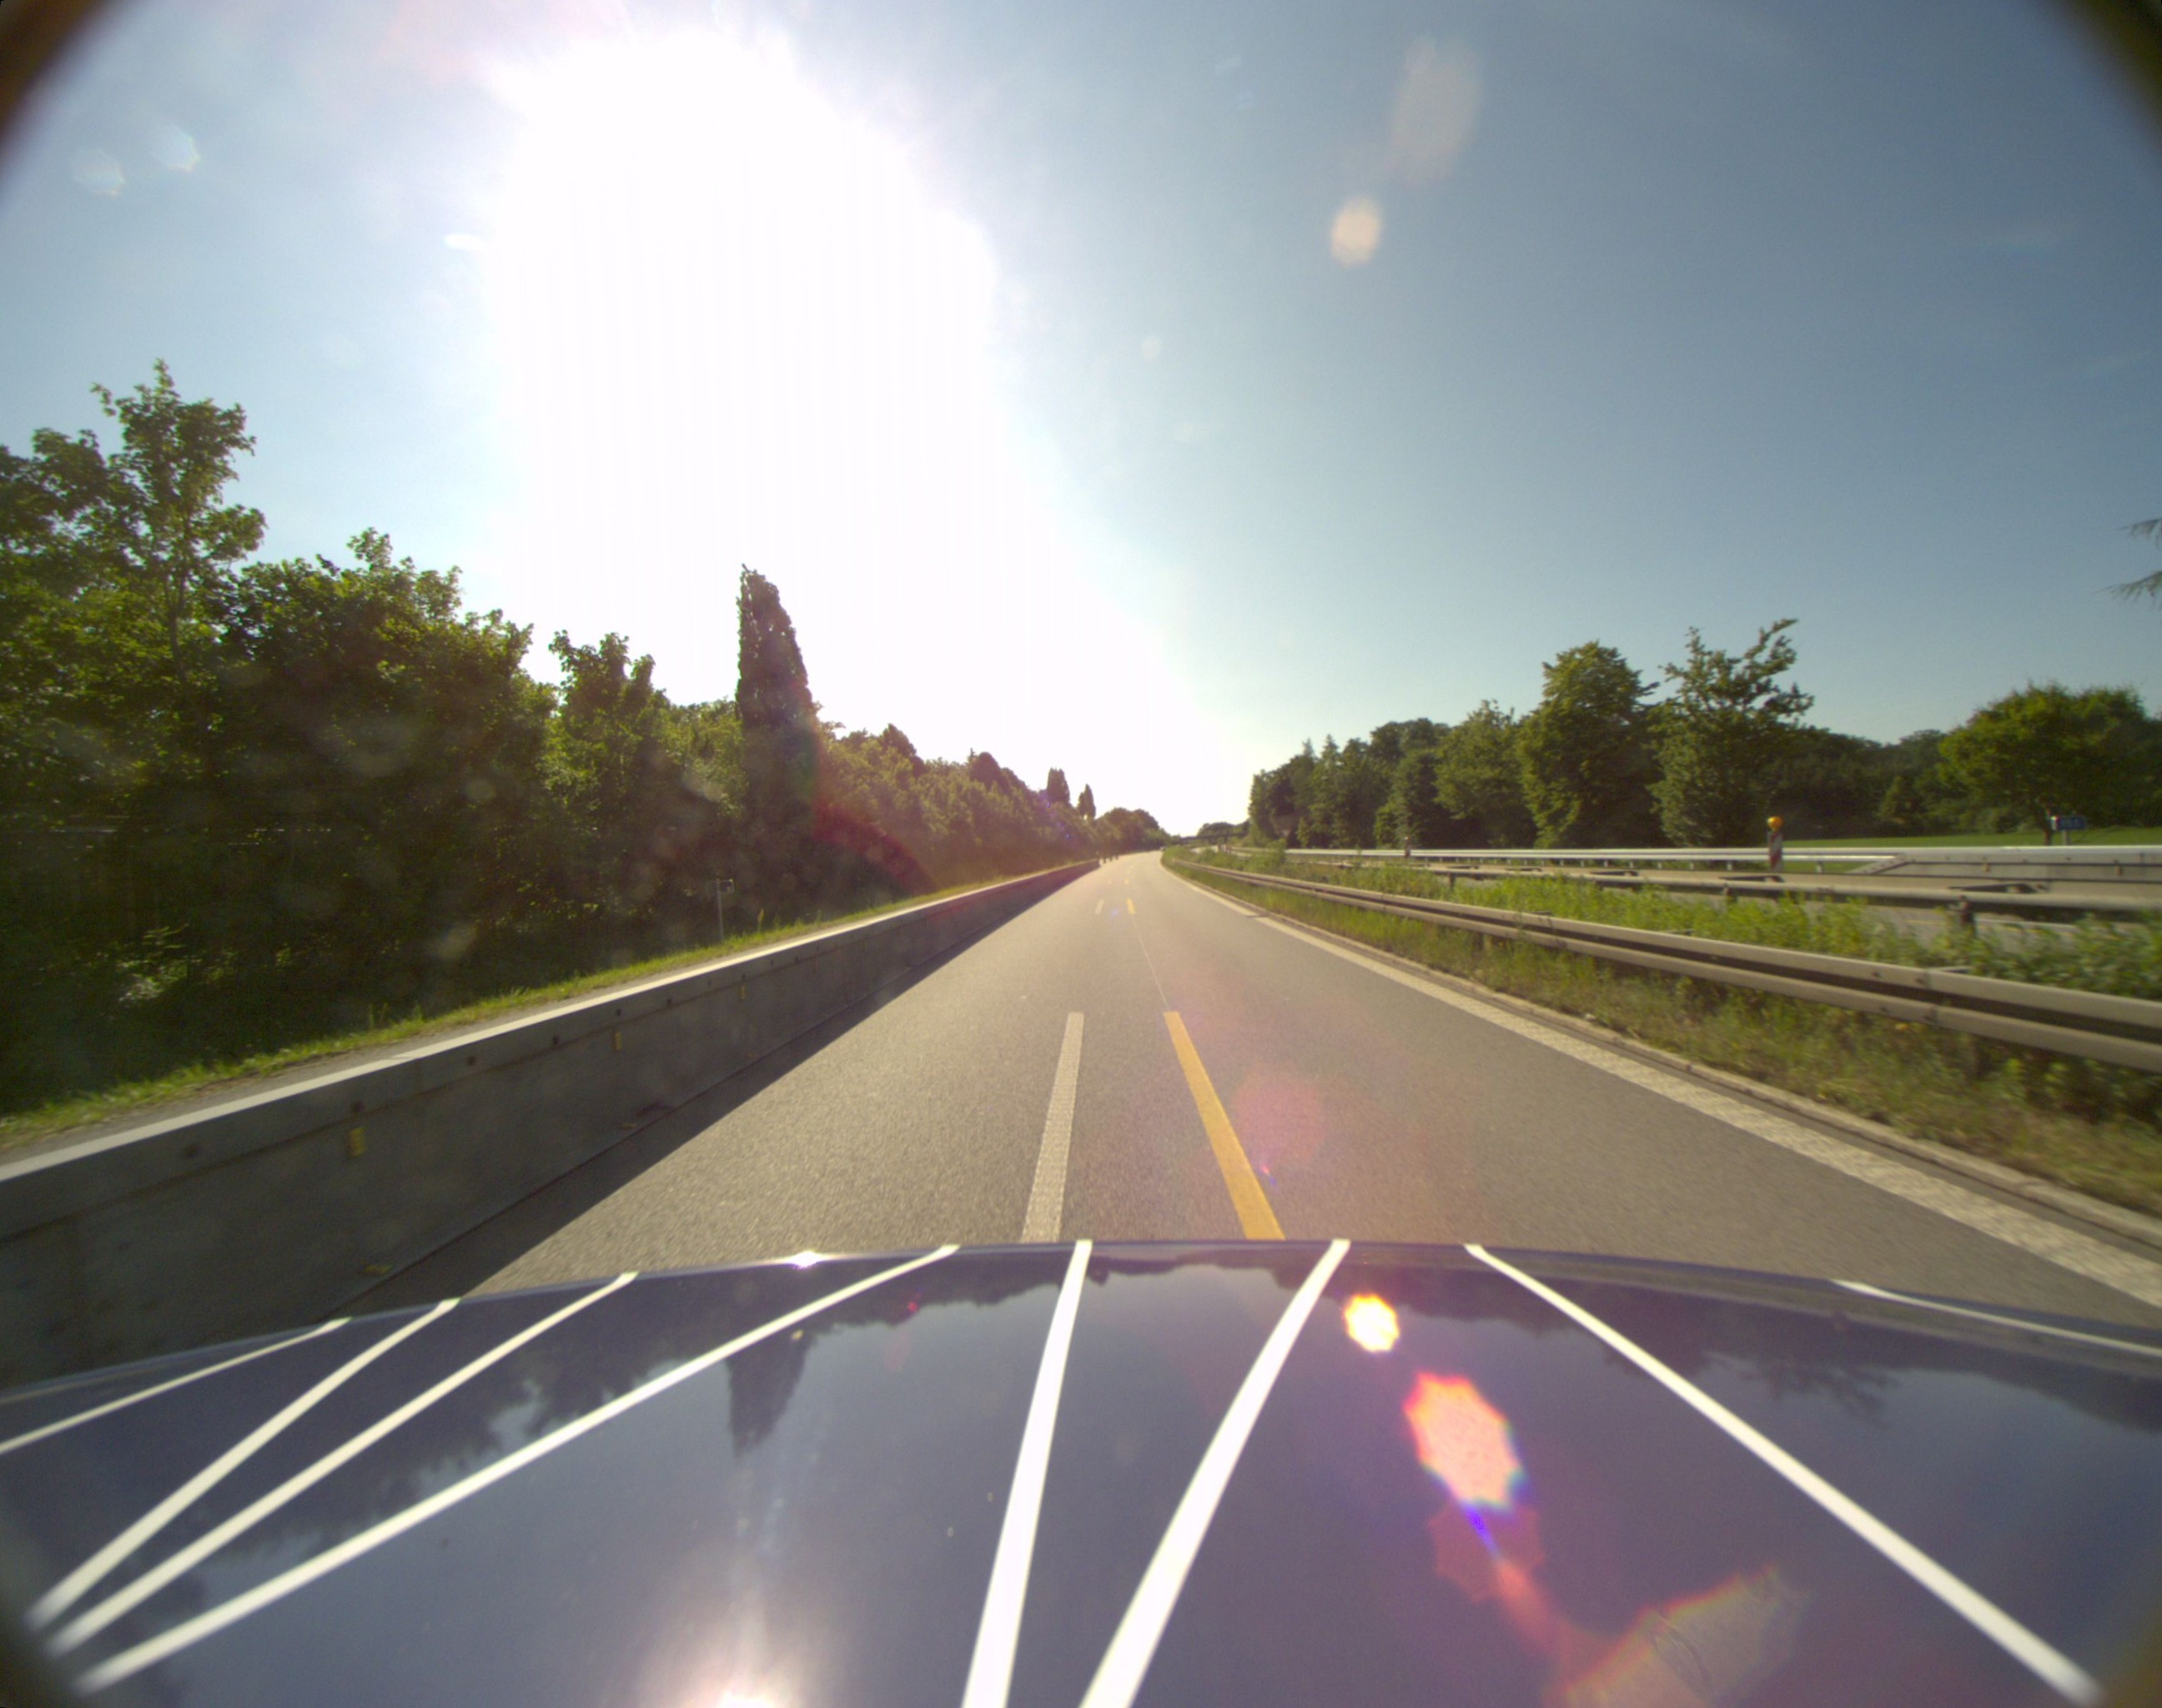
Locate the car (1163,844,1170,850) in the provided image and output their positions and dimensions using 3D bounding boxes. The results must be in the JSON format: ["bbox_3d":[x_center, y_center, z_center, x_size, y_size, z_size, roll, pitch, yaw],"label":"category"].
[{"bbox_3d":[25.000,-1.990,222.145,1.719,1.499,4.226,-2,1,13],"label":"car"}]
